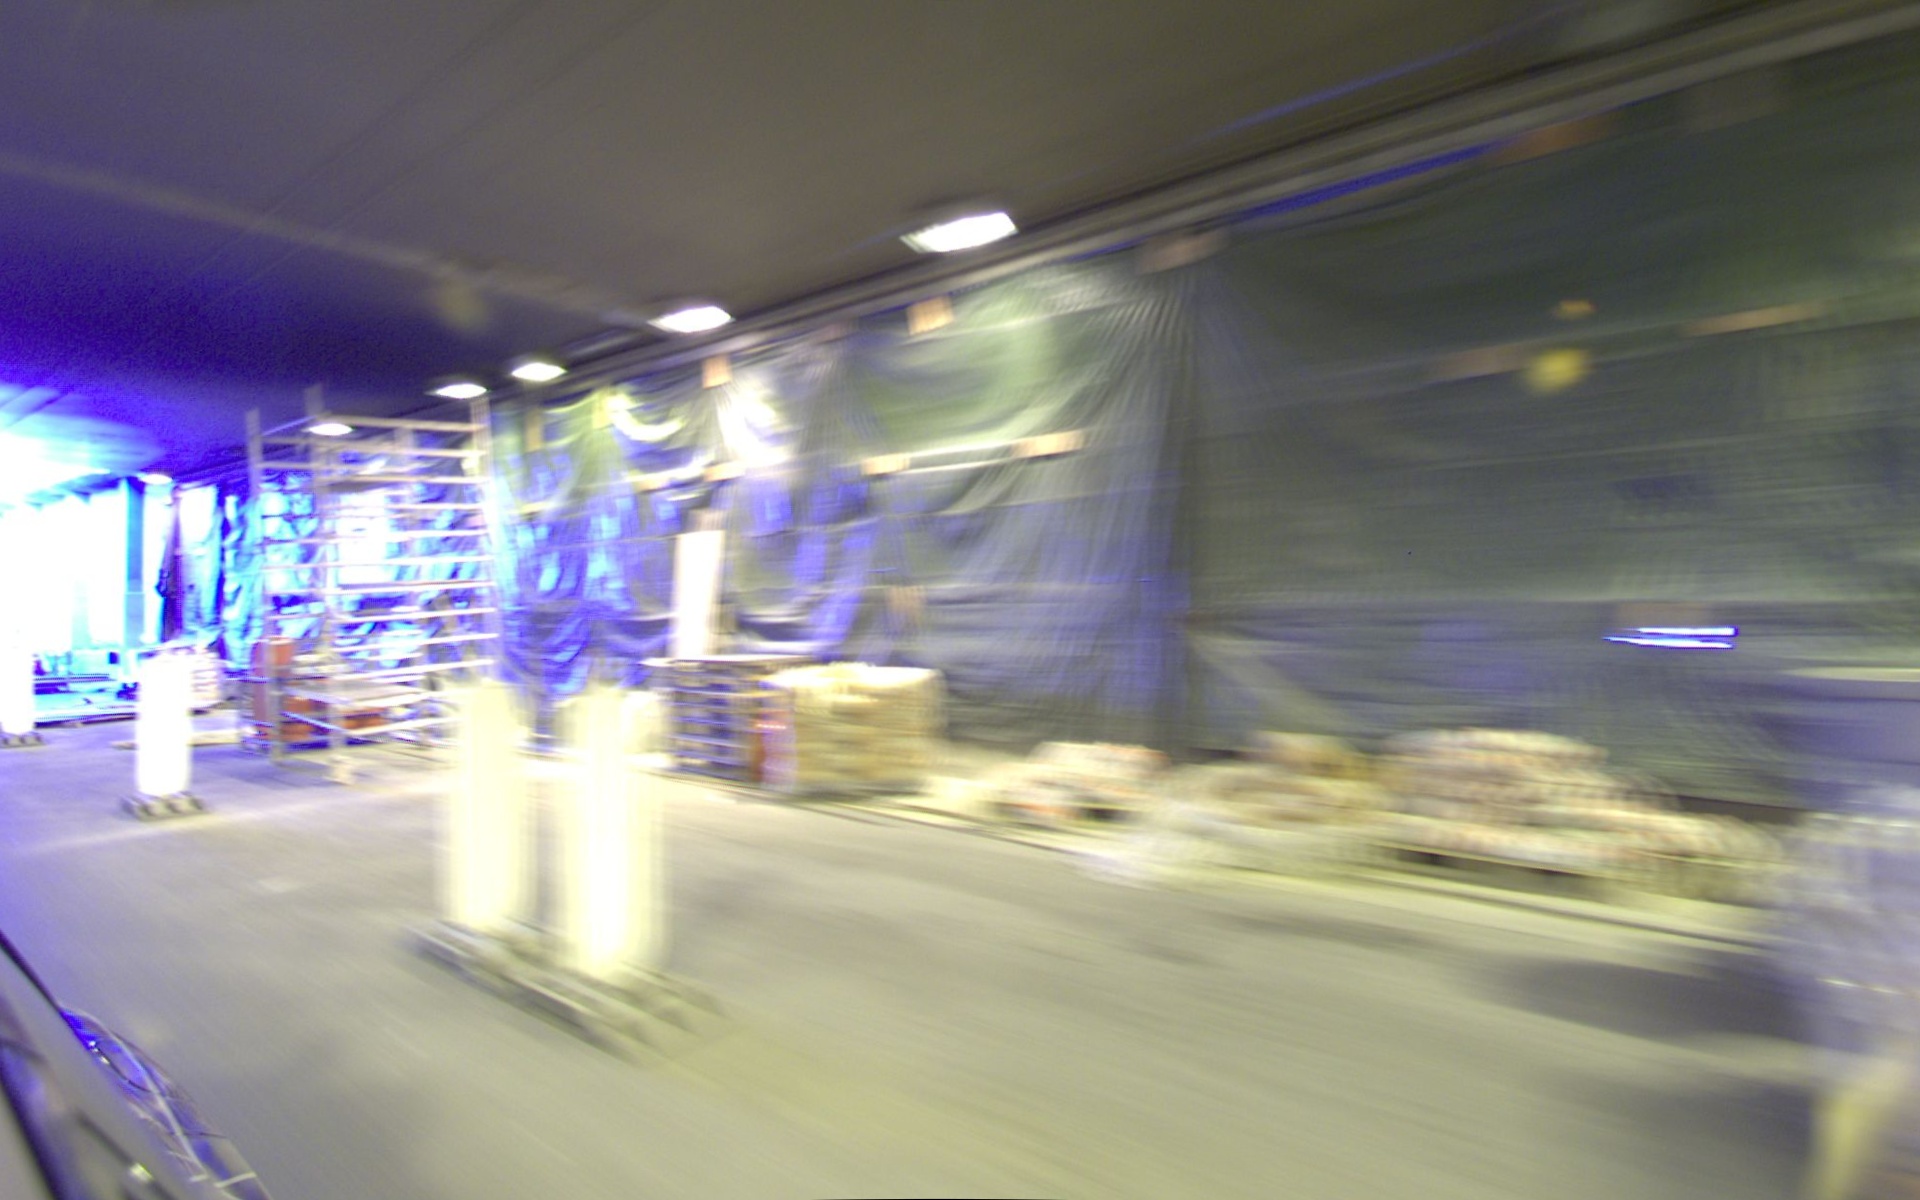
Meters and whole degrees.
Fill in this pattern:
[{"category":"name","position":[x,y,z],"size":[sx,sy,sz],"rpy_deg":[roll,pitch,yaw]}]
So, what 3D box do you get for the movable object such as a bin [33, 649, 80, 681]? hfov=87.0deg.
[{"category":"movable object such as a bin","position":[-22.783,1.631,25.507],"size":[1.029,0.747,0.646],"rpy_deg":[1,0,34]}]
